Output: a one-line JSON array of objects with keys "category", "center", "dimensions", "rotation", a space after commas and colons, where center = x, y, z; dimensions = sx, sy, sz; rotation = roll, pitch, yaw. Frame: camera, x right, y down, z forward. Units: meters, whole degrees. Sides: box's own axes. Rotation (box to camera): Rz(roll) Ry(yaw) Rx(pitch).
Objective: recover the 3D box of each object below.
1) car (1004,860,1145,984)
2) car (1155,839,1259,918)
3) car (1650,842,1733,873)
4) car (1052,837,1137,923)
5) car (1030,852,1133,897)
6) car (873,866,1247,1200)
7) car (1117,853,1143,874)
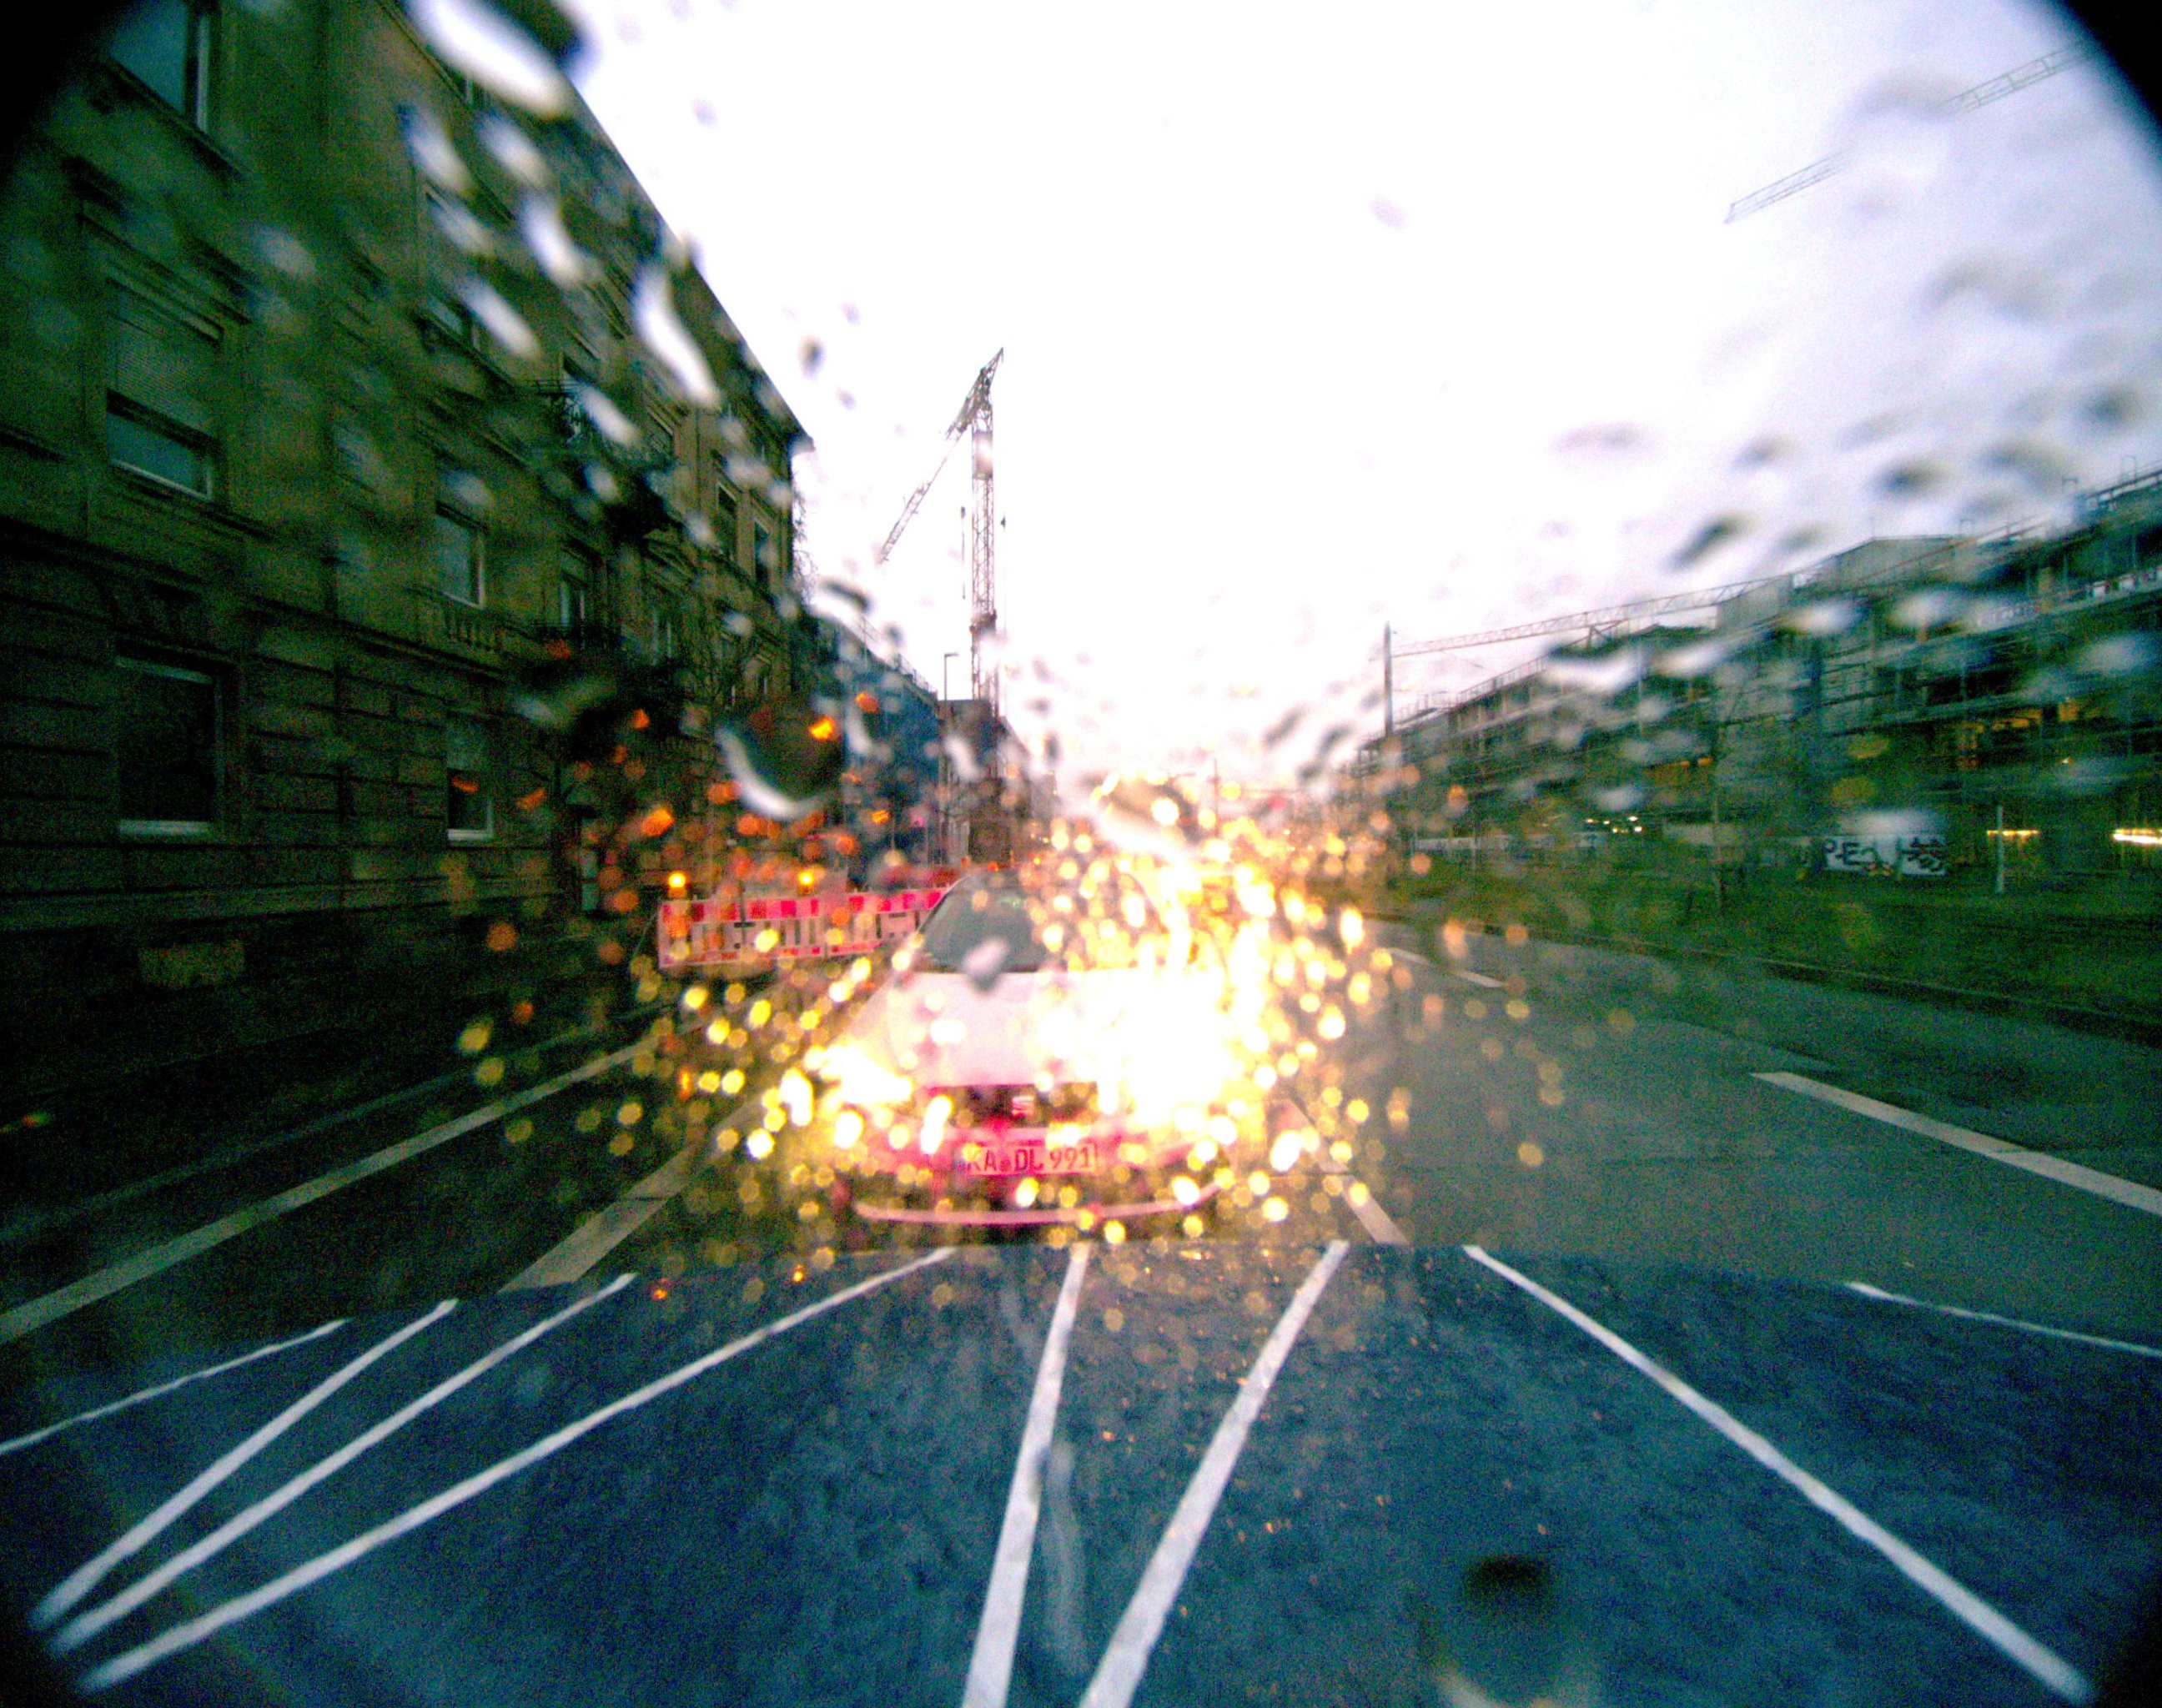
[{"category": "car", "center": [-0.125, 0.892, 11.746], "dimensions": [1.764, 1.443, 3.999], "rotation": [-2, 1, -1]}, {"category": "car", "center": [3.051, 0.528, 19.246], "dimensions": [1.858, 1.723, 3.999], "rotation": [-2, 1, -1]}, {"category": "car", "center": [37.539, 0.204, 46.873], "dimensions": [1.998, 1.761, 4.000], "rotation": [-2, 1, 2]}, {"category": "car", "center": [0.267, 0.570, 19.245], "dimensions": [1.858, 1.886, 3.999], "rotation": [-2, 1, -1]}, {"category": "car", "center": [-0.052, 0.799, 31.038], "dimensions": [1.849, 1.644, 4.312], "rotation": [-3, 1, -39]}, {"category": "car", "center": [-0.138, 0.901, 5.689], "dimensions": [1.764, 1.443, 3.999], "rotation": [-2, 1, -1]}, {"category": "car", "center": [3.874, 0.734, 60.700], "dimensions": [1.844, 1.547, 4.000], "rotation": [-2, 1, 2]}]
